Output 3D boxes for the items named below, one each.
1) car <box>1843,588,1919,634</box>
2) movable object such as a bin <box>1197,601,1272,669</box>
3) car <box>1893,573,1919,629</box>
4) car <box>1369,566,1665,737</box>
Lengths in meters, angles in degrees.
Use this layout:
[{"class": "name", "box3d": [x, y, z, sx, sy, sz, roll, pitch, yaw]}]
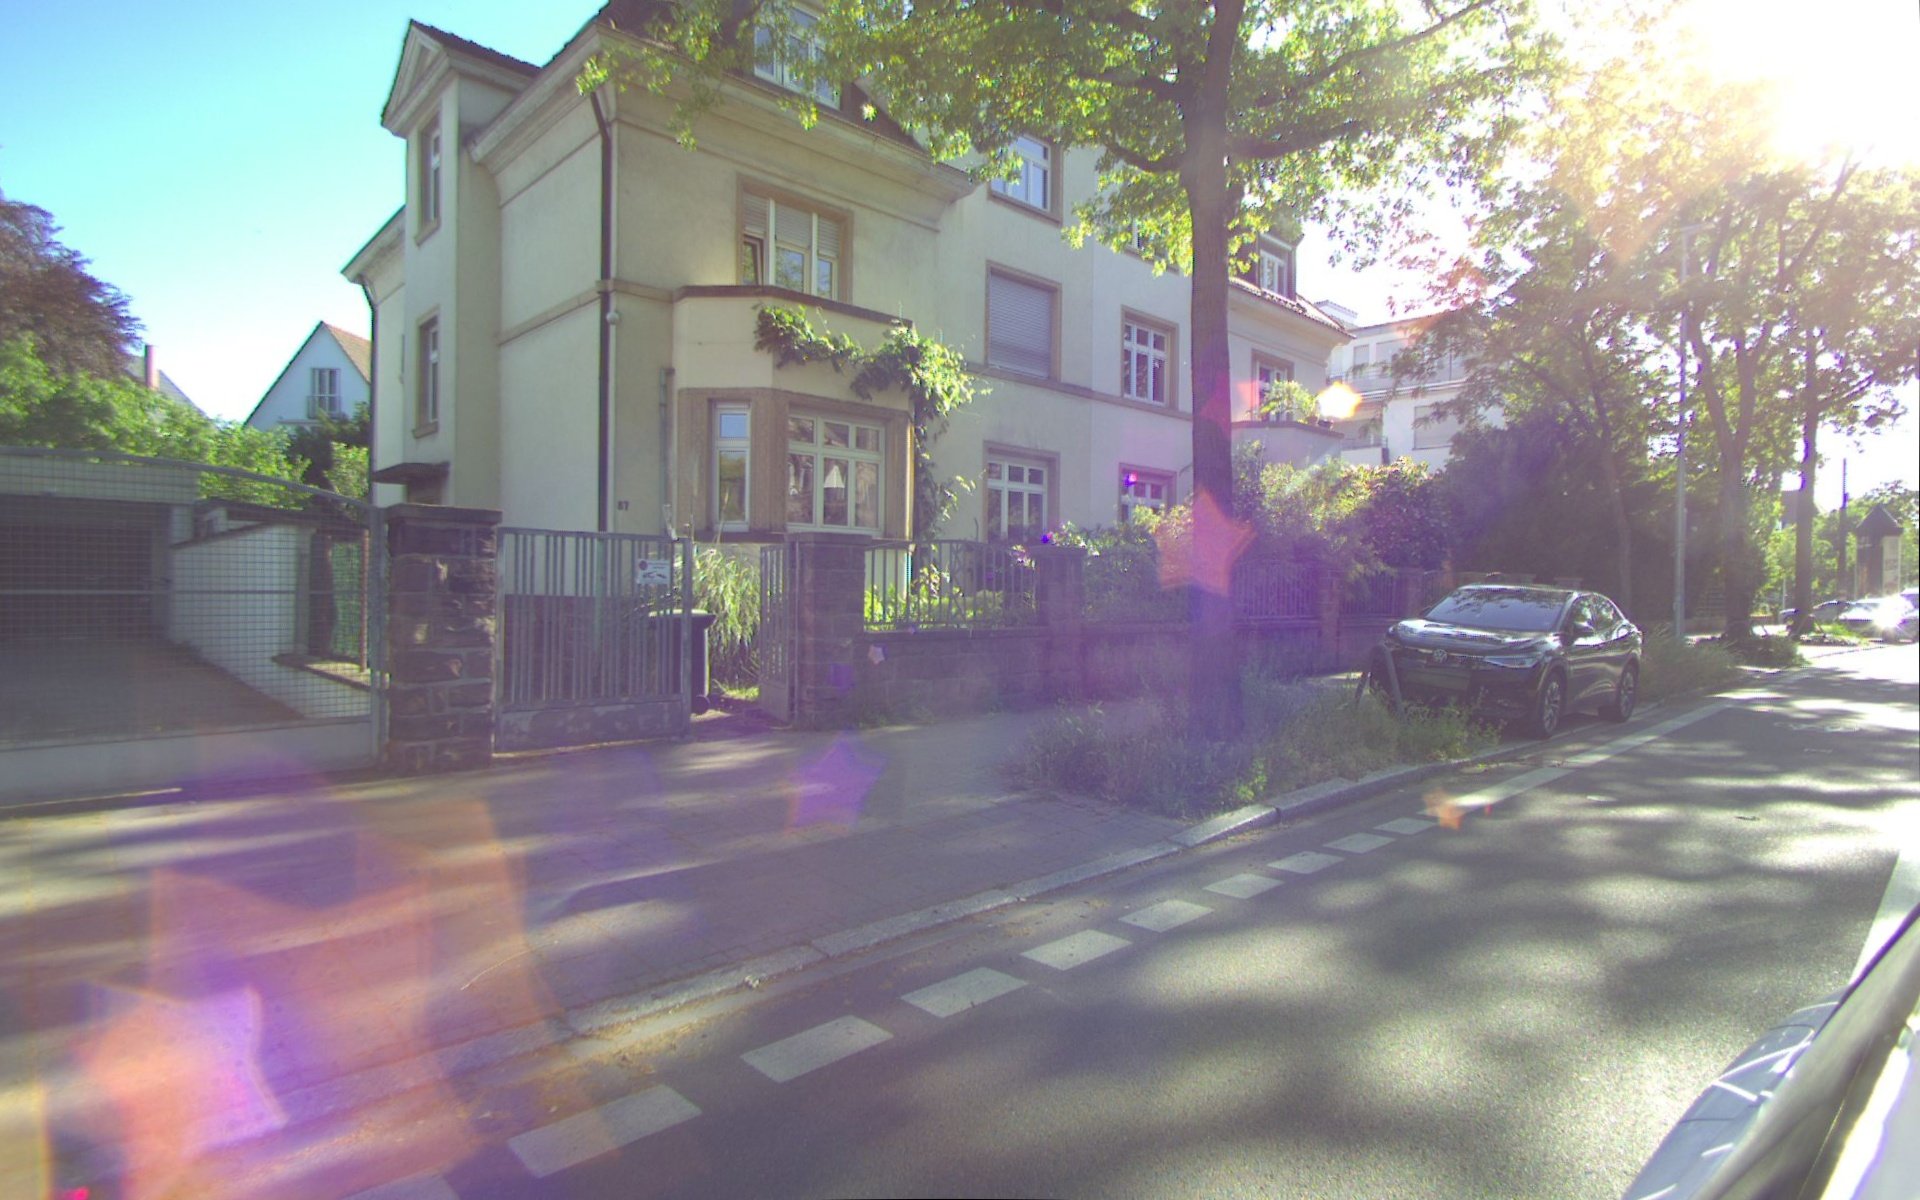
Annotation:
[{"class": "car", "box3d": [31.553, 0.338, 34.405, 3.930, 1.469, 1.785, 0, 1, -41]}, {"class": "movable object such as a bin", "box3d": [4.543, 0.554, 16.815, 0.697, 1.070, 1.093, 0, 0, -20]}, {"class": "car", "box3d": [36.788, 0.051, 38.066, 4.503, 2.039, 1.997, 0, 1, -41]}, {"class": "car", "box3d": [6.785, 0.495, 12.164, 4.020, 1.626, 1.743, 0, 4, -41]}]
